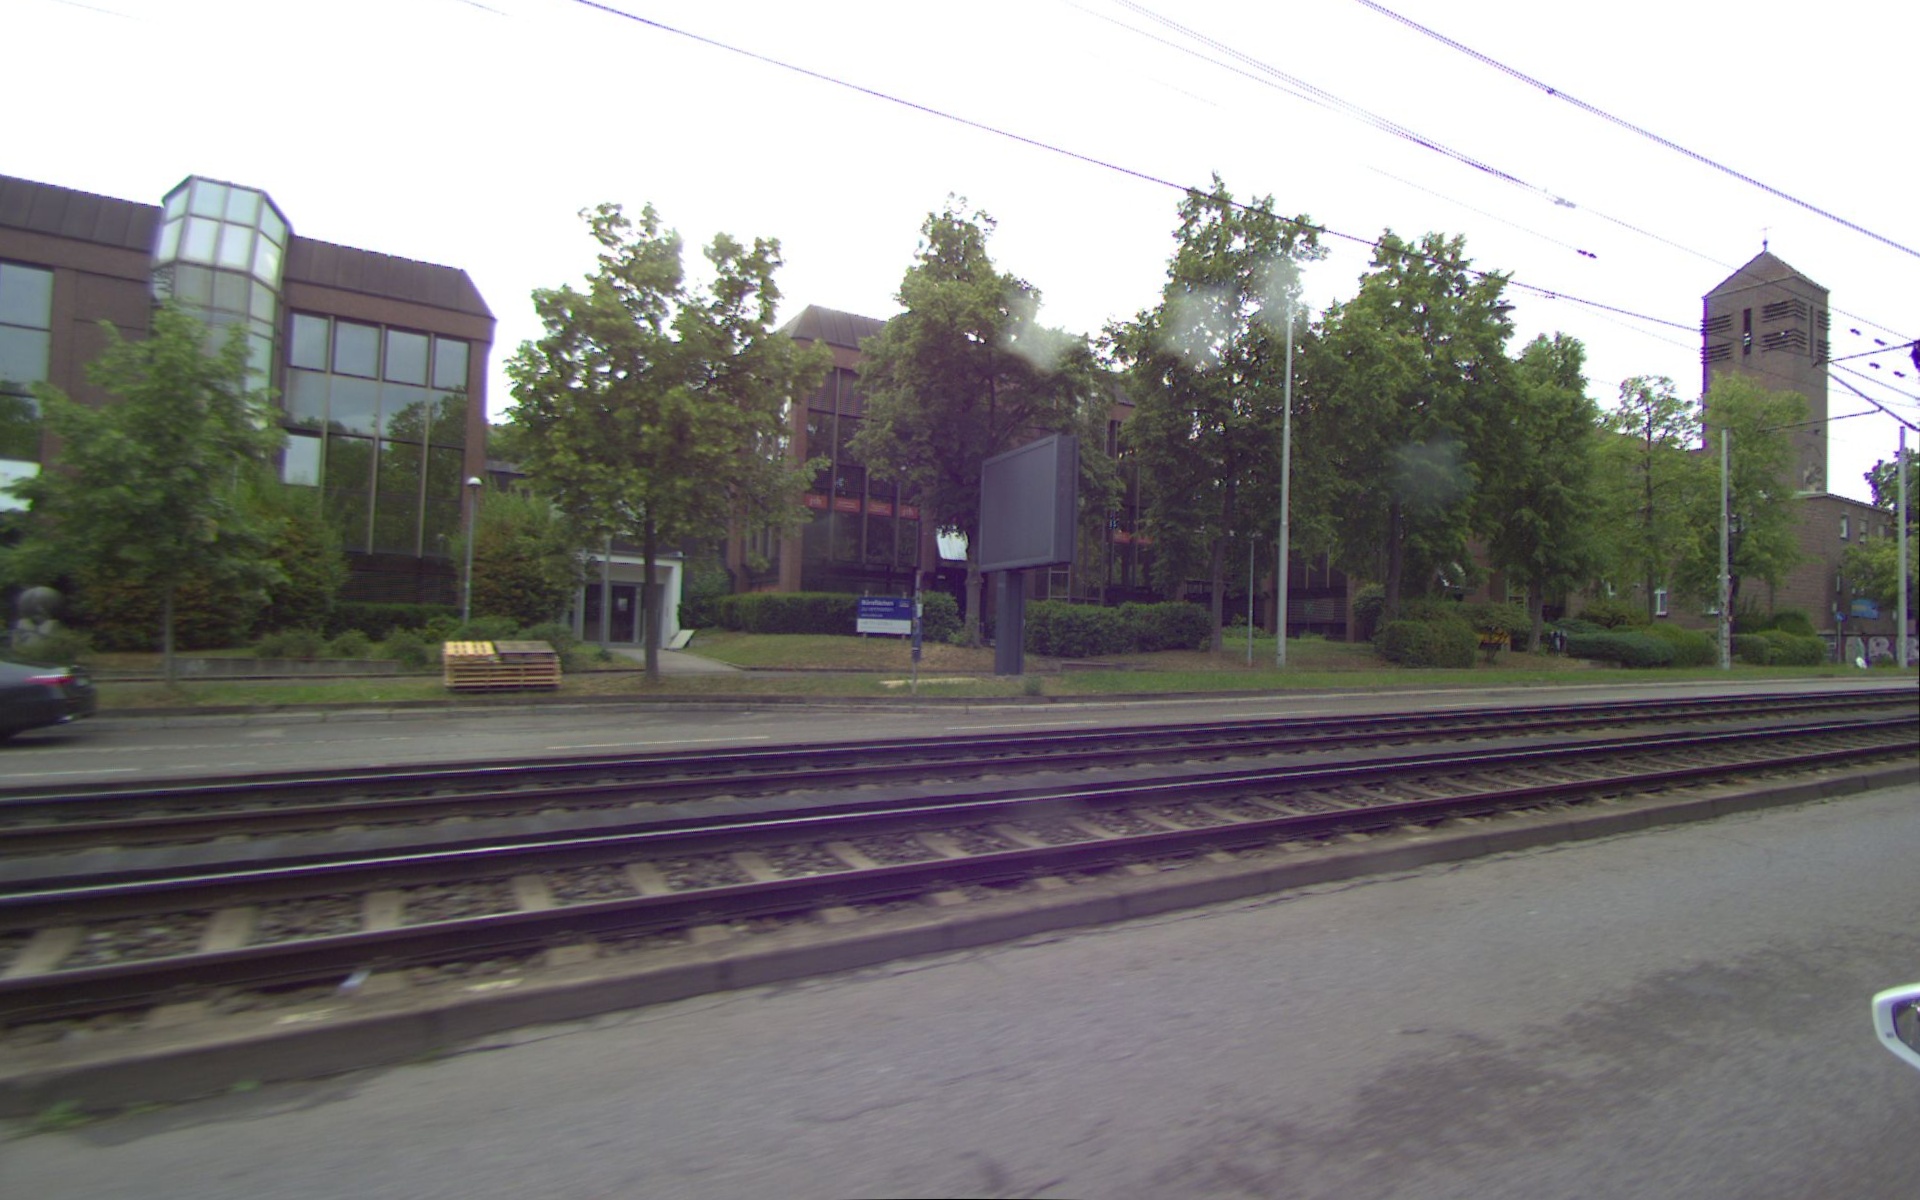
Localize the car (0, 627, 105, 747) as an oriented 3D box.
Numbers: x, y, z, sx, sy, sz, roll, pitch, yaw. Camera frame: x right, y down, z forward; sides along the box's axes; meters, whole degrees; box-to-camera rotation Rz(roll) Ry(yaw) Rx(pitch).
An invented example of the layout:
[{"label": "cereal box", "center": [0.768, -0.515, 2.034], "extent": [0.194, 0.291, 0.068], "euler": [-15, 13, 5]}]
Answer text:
[{"label": "car", "center": [-14.231, 1.120, 12.977], "extent": [4.570, 1.550, 1.785], "euler": [2, -2, -32]}]
